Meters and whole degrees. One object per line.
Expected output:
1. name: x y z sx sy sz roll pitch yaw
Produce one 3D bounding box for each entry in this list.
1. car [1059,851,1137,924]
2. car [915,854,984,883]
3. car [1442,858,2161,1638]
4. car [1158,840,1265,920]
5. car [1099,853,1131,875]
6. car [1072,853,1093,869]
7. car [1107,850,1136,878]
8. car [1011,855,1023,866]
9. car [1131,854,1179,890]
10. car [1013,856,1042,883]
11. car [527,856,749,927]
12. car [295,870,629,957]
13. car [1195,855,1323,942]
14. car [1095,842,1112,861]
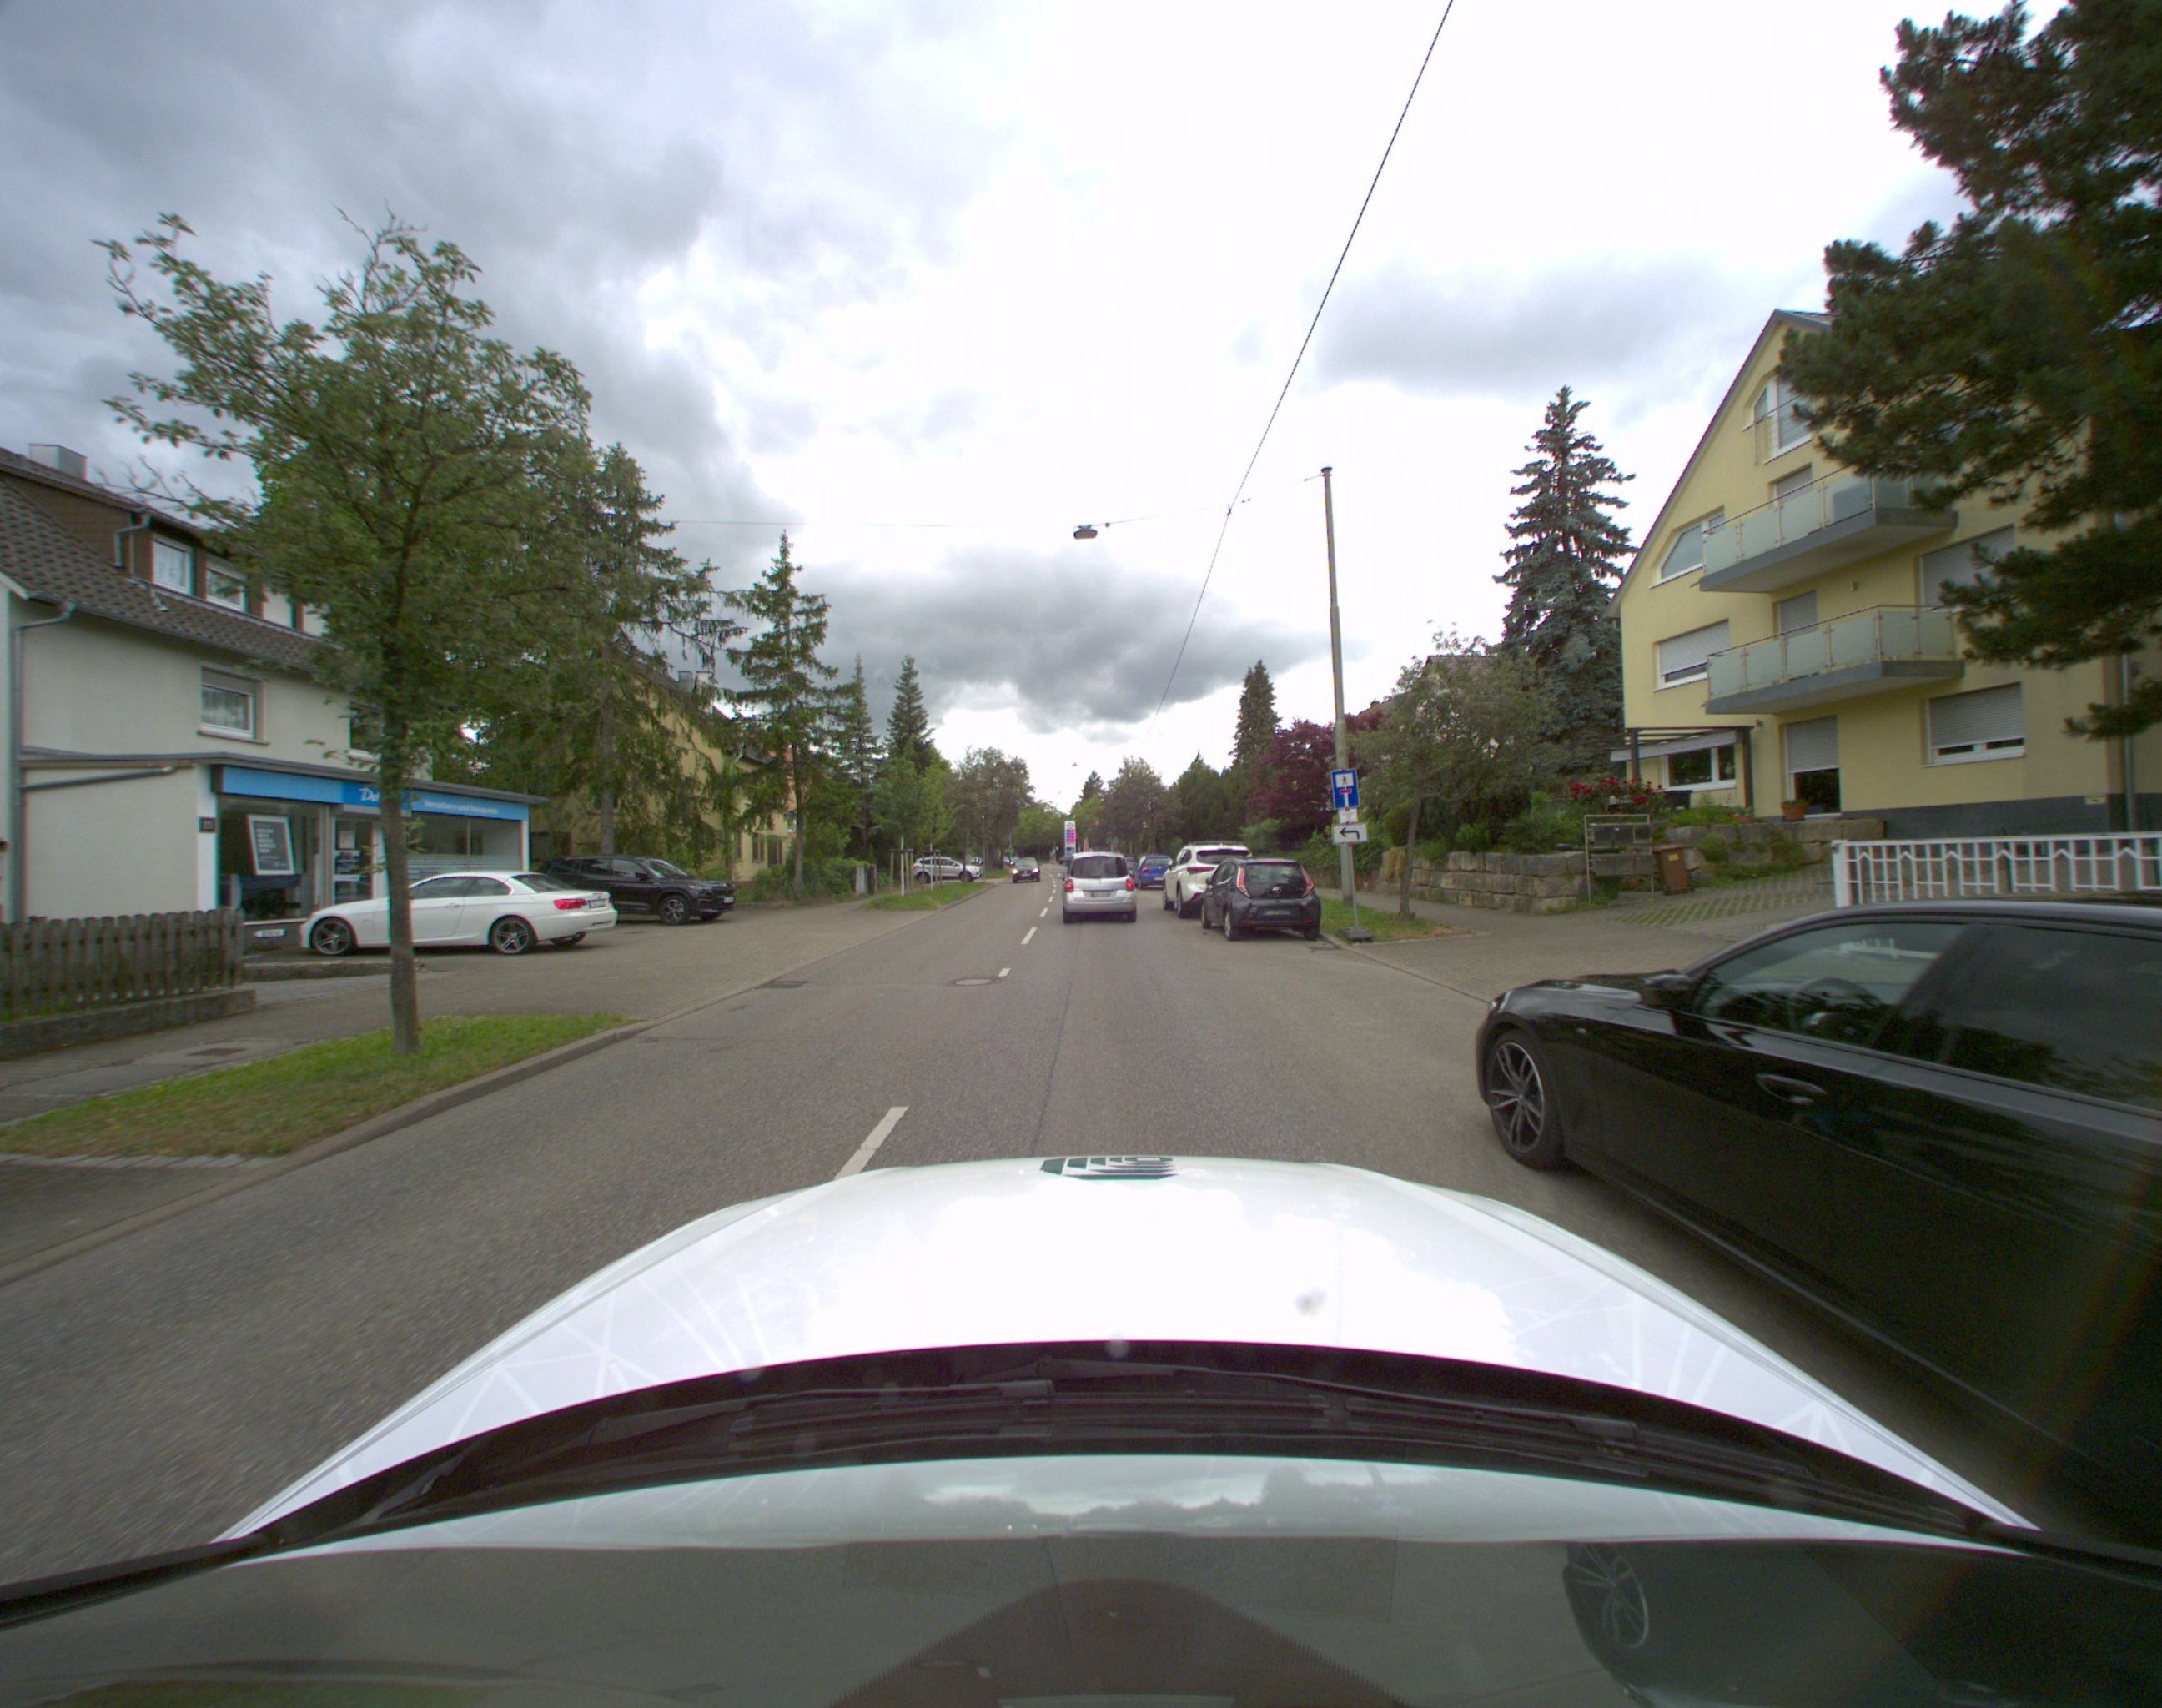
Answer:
1. car: 0.397 0.729 19.300 1.673 1.560 3.512 -1 0 1
2. car: -8.311 0.899 51.789 4.073 1.706 1.747 -2 0 0
3. car: 2.983 0.756 2.497 1.823 1.457 4.551 0 0 1
4. car: 3.132 0.577 20.475 1.794 1.778 4.701 0 0 -2
5. car: 2.338 0.666 56.639 1.693 1.433 4.334 -2 0 -4
6. car: 0.159 0.663 82.289 1.693 1.506 3.964 -1 0 -6
7. car: 2.561 0.605 51.246 1.688 1.557 3.958 -2 1 3
8. car: -8.754 0.863 111.479 1.542 1.470 3.735 -2 0 -5
9. car: 3.189 0.736 35.671 1.623 1.452 3.872 -1 0 -2
10. car: -3.216 0.899 49.564 1.571 1.472 3.468 -4 0 -2
11. car: -10.676 0.871 19.838 4.316 1.618 1.974 0 0 2
12. car: -10.560 0.998 14.184 4.271 1.368 1.813 0 0 -5
13. car: 3.262 0.758 15.542 1.554 1.443 3.504 0 0 -2
14. car: 3.468 -0.362 127.825 2.277 2.911 5.272 0 0 -4
